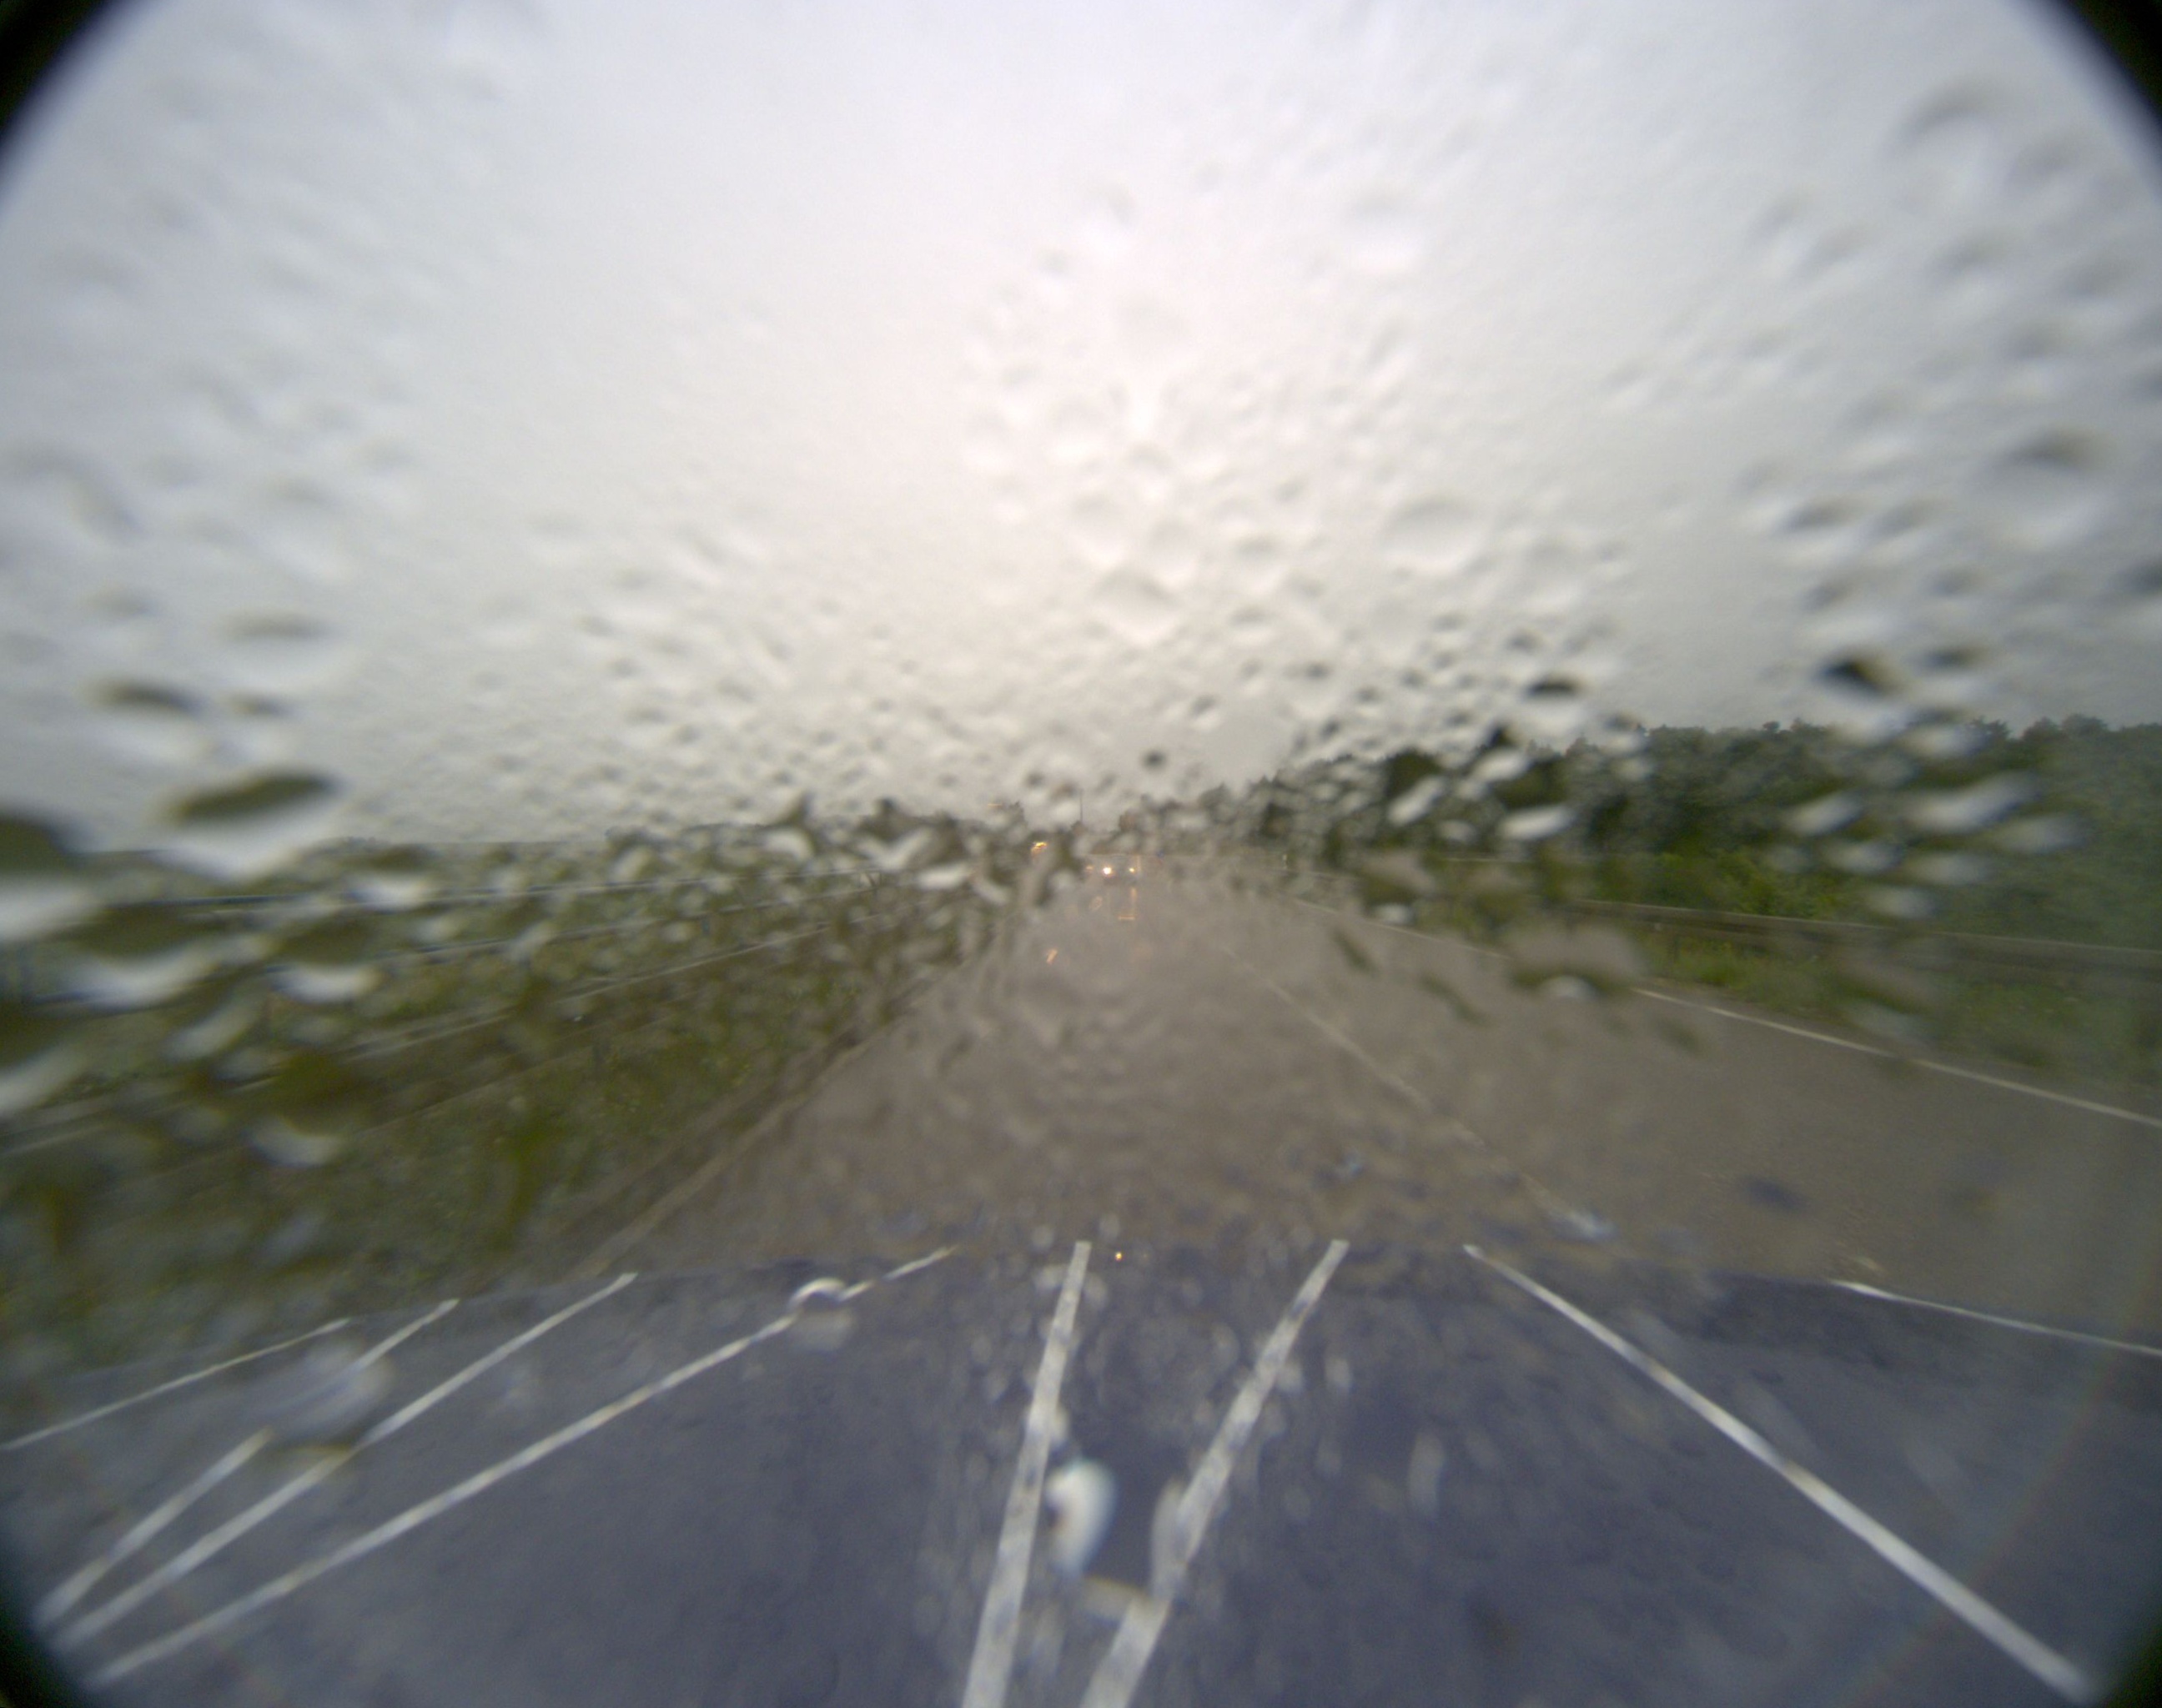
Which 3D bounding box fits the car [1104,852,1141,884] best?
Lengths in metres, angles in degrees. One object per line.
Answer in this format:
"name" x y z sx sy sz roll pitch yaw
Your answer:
"car" 2.258 0.711 40.833 1.818 1.383 4.069 -3 2 4
